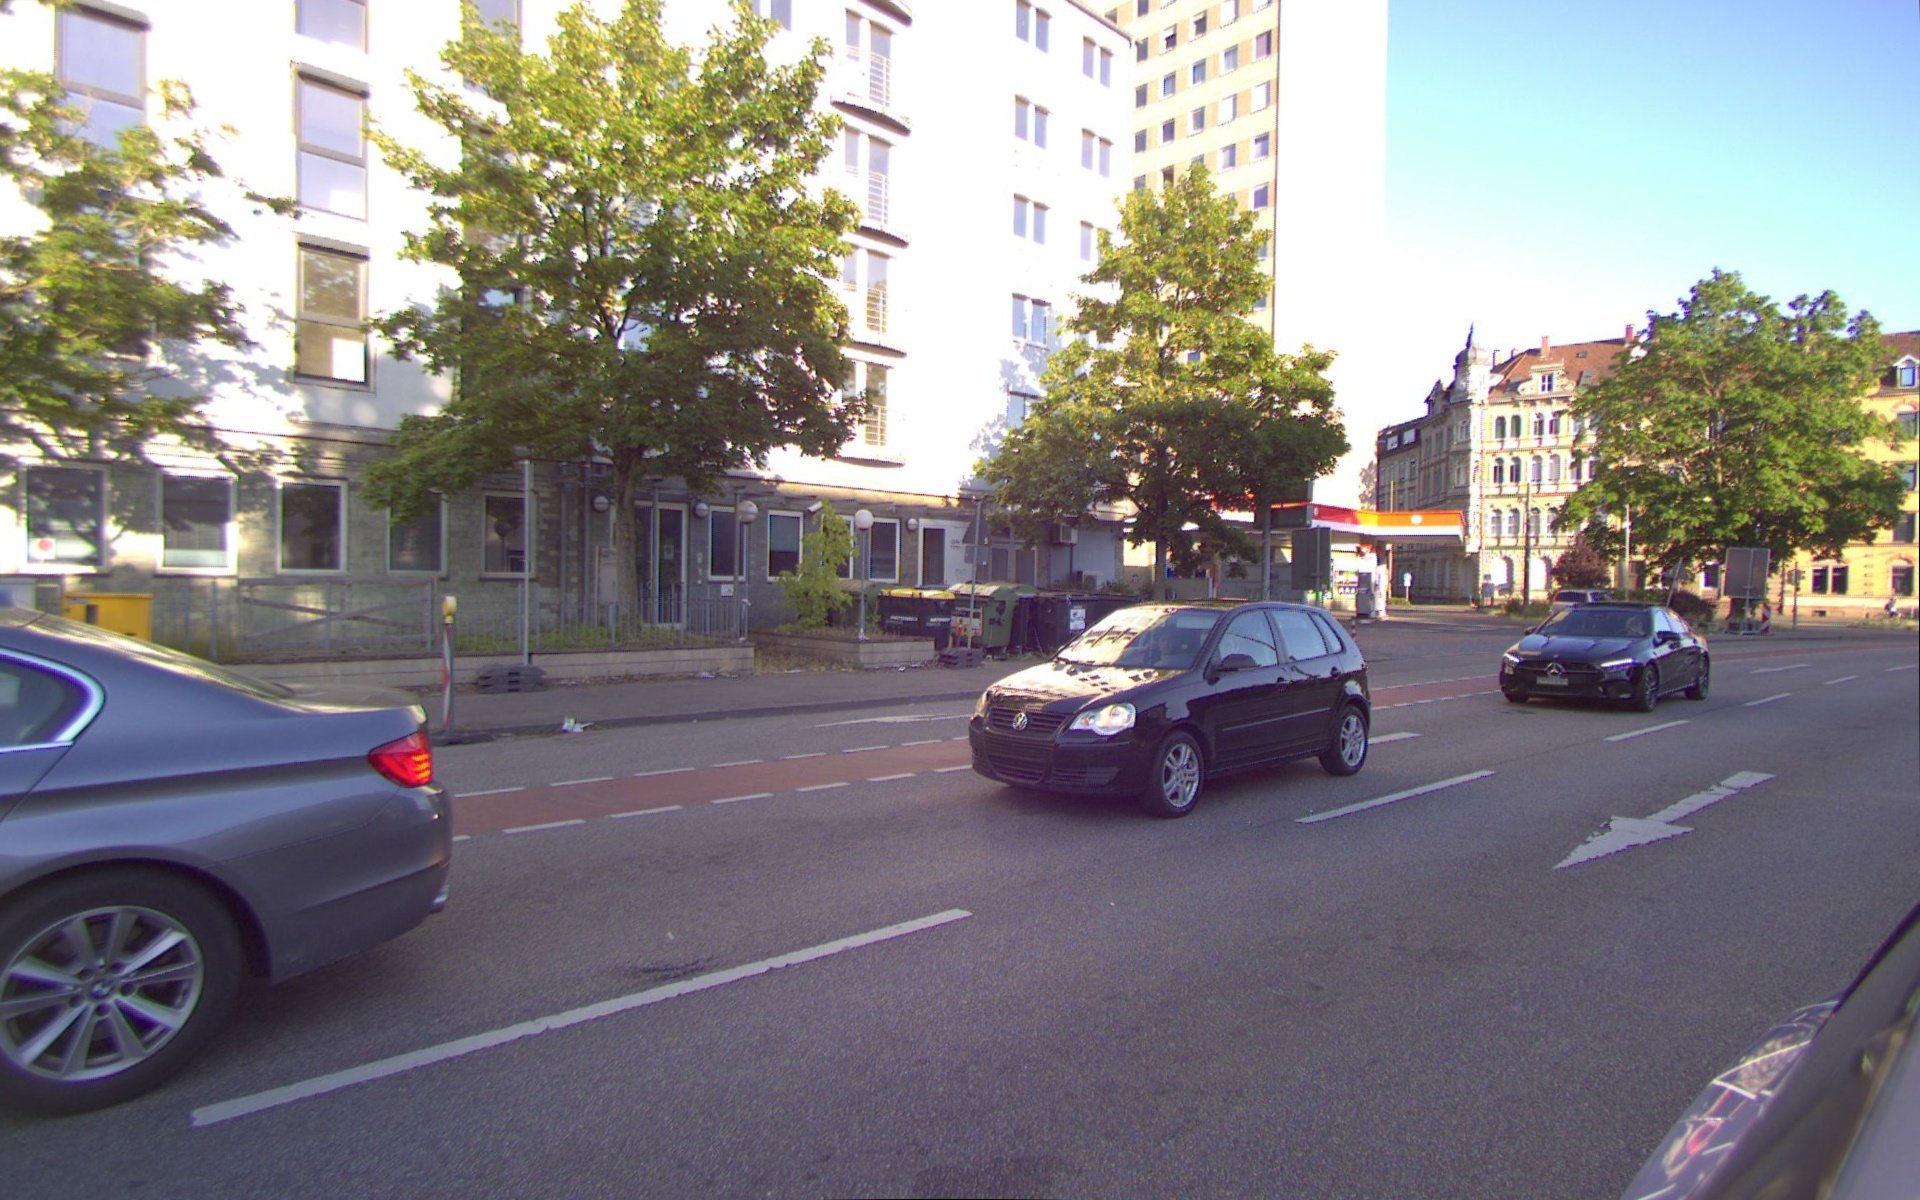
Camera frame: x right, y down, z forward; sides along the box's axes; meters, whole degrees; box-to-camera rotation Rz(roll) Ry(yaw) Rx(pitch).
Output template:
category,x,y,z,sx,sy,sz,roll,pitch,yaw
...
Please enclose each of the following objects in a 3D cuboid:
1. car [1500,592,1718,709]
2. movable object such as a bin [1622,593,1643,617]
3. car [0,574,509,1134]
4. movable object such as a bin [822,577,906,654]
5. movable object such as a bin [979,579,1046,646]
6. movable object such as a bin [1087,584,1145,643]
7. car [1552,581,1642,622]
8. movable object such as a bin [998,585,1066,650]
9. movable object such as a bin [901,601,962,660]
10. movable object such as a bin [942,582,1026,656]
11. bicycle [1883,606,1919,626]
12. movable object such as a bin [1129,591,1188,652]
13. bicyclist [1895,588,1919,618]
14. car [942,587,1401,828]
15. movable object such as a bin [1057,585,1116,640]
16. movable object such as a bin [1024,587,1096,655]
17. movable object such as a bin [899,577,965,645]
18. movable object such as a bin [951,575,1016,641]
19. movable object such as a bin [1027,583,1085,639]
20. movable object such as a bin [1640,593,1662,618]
category,x,y,z,sx,sy,sz,roll,pitch,yaw
car,9.470,0.619,14.648,3.977,1.467,1.729,0,0,-43
movable object such as a bin,29.111,0.212,43.784,0.675,1.031,0.544,0,1,-36
car,-3.859,0.661,2.631,4.588,1.467,1.817,0,0,-43
movable object such as a bin,-1.942,0.285,20.407,1.088,1.479,1.348,0,1,-45
movable object such as a bin,1.205,0.268,23.196,1.143,1.467,1.033,0,1,-44
movable object such as a bin,3.651,0.297,23.669,0.938,1.345,0.954,0,1,-43
car,25.773,0.030,40.906,3.723,1.535,1.691,-1,2,-34
movable object such as a bin,1.564,0.361,22.066,1.143,1.345,0.954,0,1,-44
movable object such as a bin,-0.554,0.572,19.475,0.851,1.058,0.807,2,1,45
movable object such as a bin,0.487,0.360,20.849,1.088,1.441,1.348,0,2,-45
bicycle,53.728,0.884,57.478,1.920,1.072,0.444,2,1,43
movable object such as a bin,4.543,0.474,23.180,0.938,1.345,0.954,0,1,-43
bicyclist,53.807,0.139,57.424,1.062,1.669,0.721,2,1,43
car,1.815,0.639,7.993,3.804,1.467,1.583,0,0,-41
movable object such as a bin,3.084,0.289,24.621,1.080,1.299,0.954,0,1,-44
movable object such as a bin,2.084,0.405,21.064,1.143,1.345,0.954,0,1,-44
movable object such as a bin,-0.661,0.235,23.627,1.143,1.517,1.033,0,1,-44
movable object such as a bin,0.557,0.180,24.189,1.143,1.517,1.033,0,1,-44
movable object such as a bin,2.405,0.259,25.350,1.080,1.345,0.954,0,1,-44
movable object such as a bin,29.425,0.228,43.099,0.675,1.031,0.544,0,1,-36
